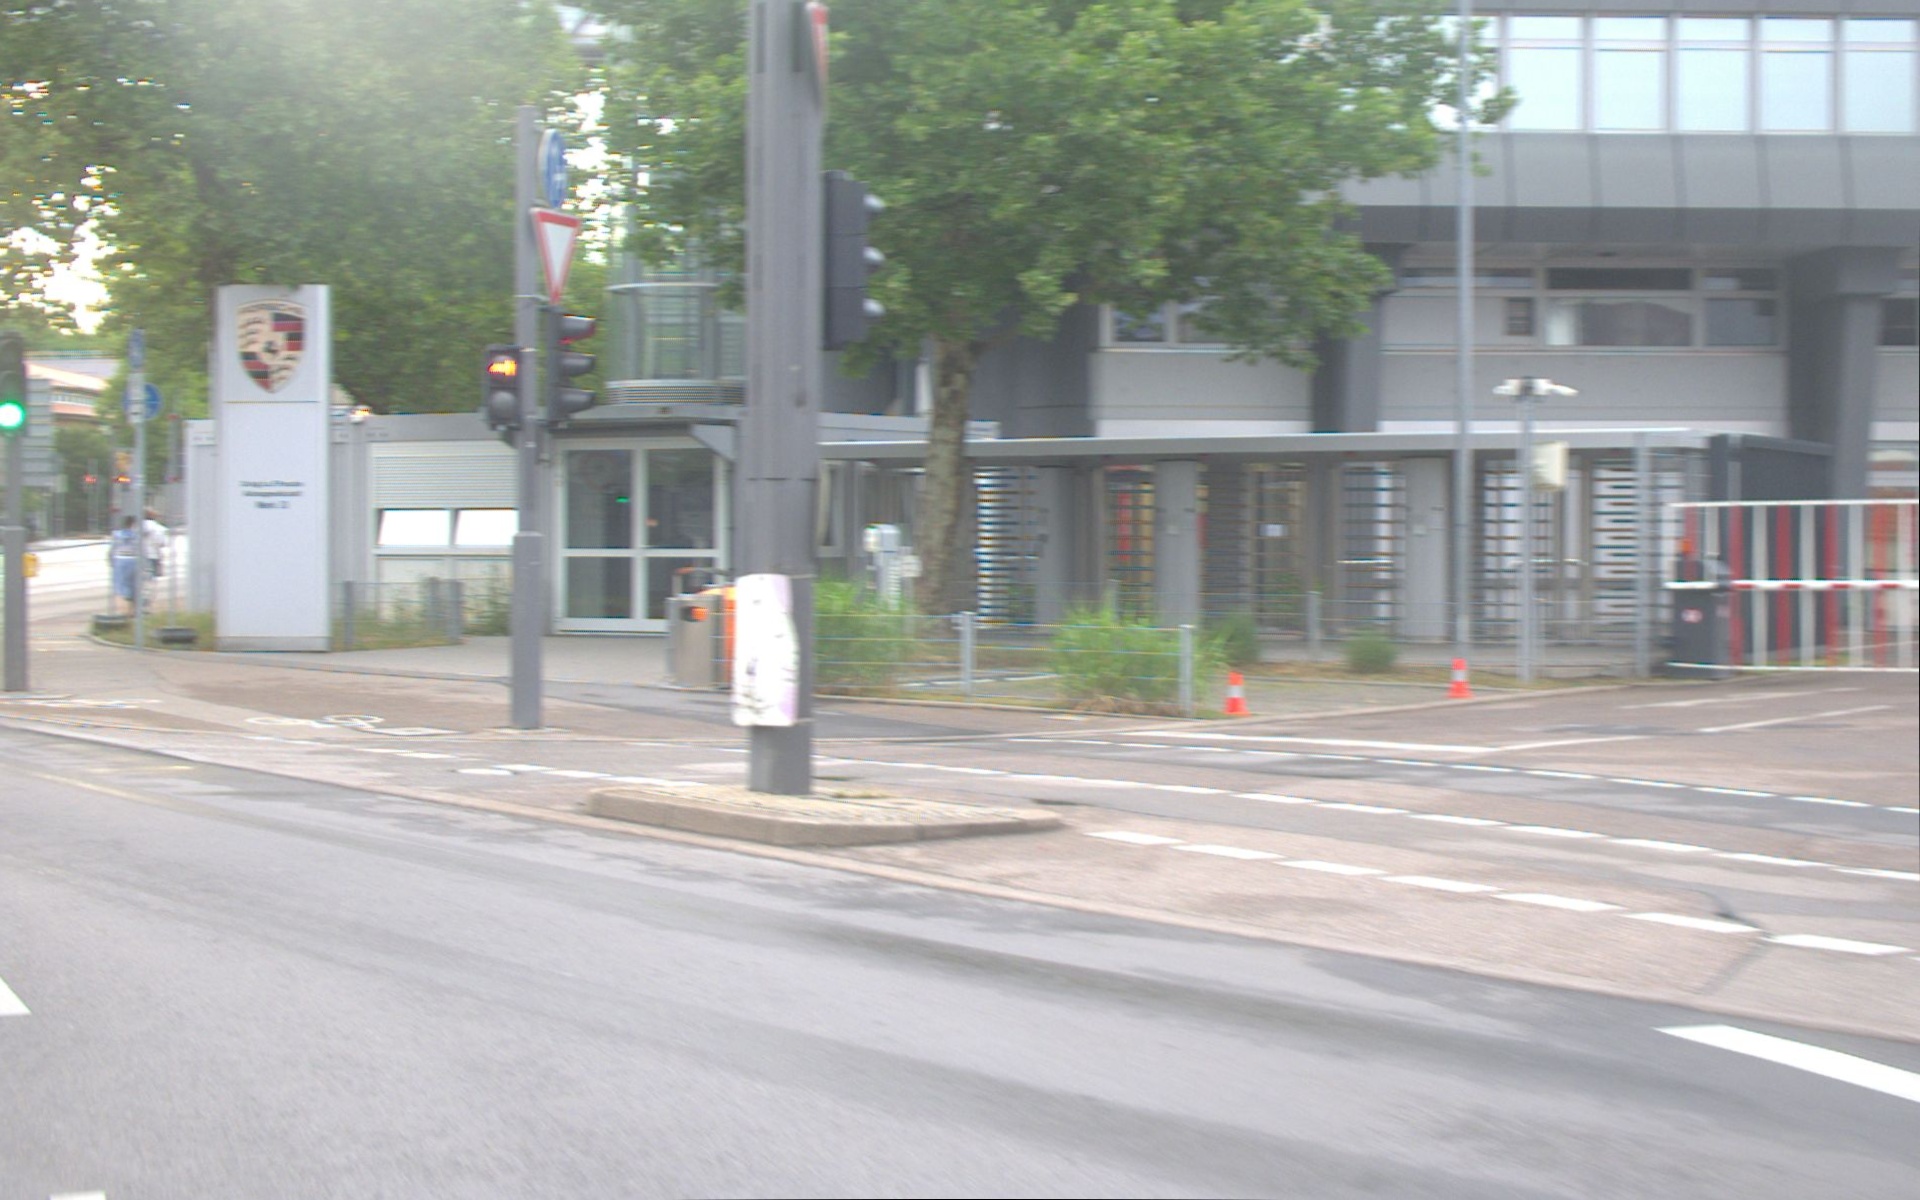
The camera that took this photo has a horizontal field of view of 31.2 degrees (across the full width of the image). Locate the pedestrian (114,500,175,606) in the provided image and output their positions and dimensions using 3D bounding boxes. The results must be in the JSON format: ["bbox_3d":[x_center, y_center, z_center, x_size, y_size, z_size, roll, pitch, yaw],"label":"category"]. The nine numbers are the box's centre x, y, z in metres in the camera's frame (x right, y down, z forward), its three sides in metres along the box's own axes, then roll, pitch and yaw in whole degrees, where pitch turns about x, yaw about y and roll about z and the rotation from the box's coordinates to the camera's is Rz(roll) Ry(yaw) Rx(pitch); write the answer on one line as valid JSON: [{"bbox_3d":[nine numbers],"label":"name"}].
[{"bbox_3d":[-12.331,-0.719,51.987,0.709,1.586,0.841,0,1,1],"label":"pedestrian"}]

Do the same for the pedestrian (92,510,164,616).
[{"bbox_3d":[-12.040,-0.544,49.775,0.831,1.515,0.842,0,1,0],"label":"pedestrian"}]
